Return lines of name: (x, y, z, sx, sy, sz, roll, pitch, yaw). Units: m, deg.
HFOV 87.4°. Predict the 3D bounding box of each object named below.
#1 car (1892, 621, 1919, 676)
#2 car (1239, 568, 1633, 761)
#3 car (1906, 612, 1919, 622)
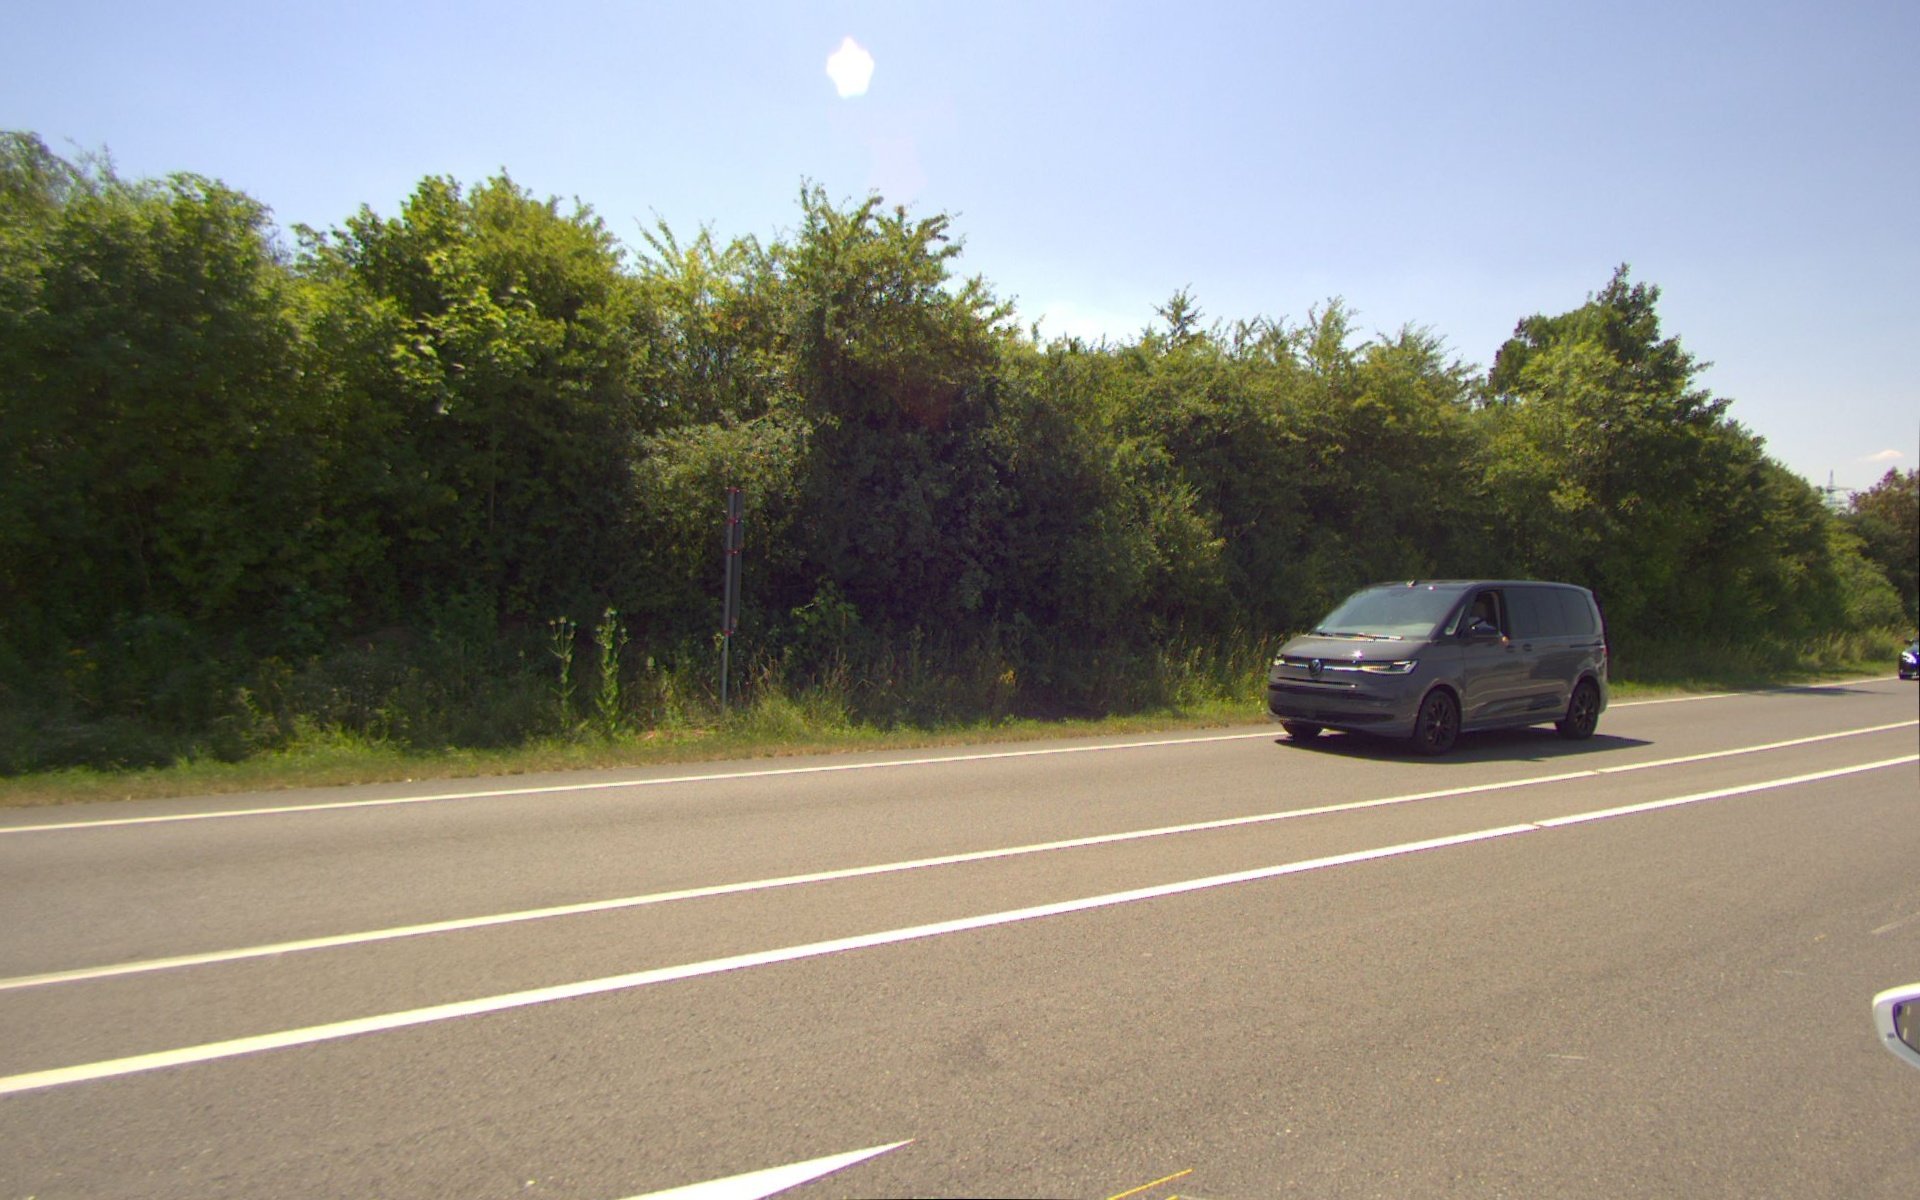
car: (27.639, 1.335, 27.930, 4.601, 1.461, 1.803, 1, 0, -38)
car: (5.881, 0.676, 12.197, 5.049, 1.919, 1.982, 1, 0, -33)
car: (169.408, 2.960, 178.362, 1.972, 1.706, 3.976, 1, 0, 44)
